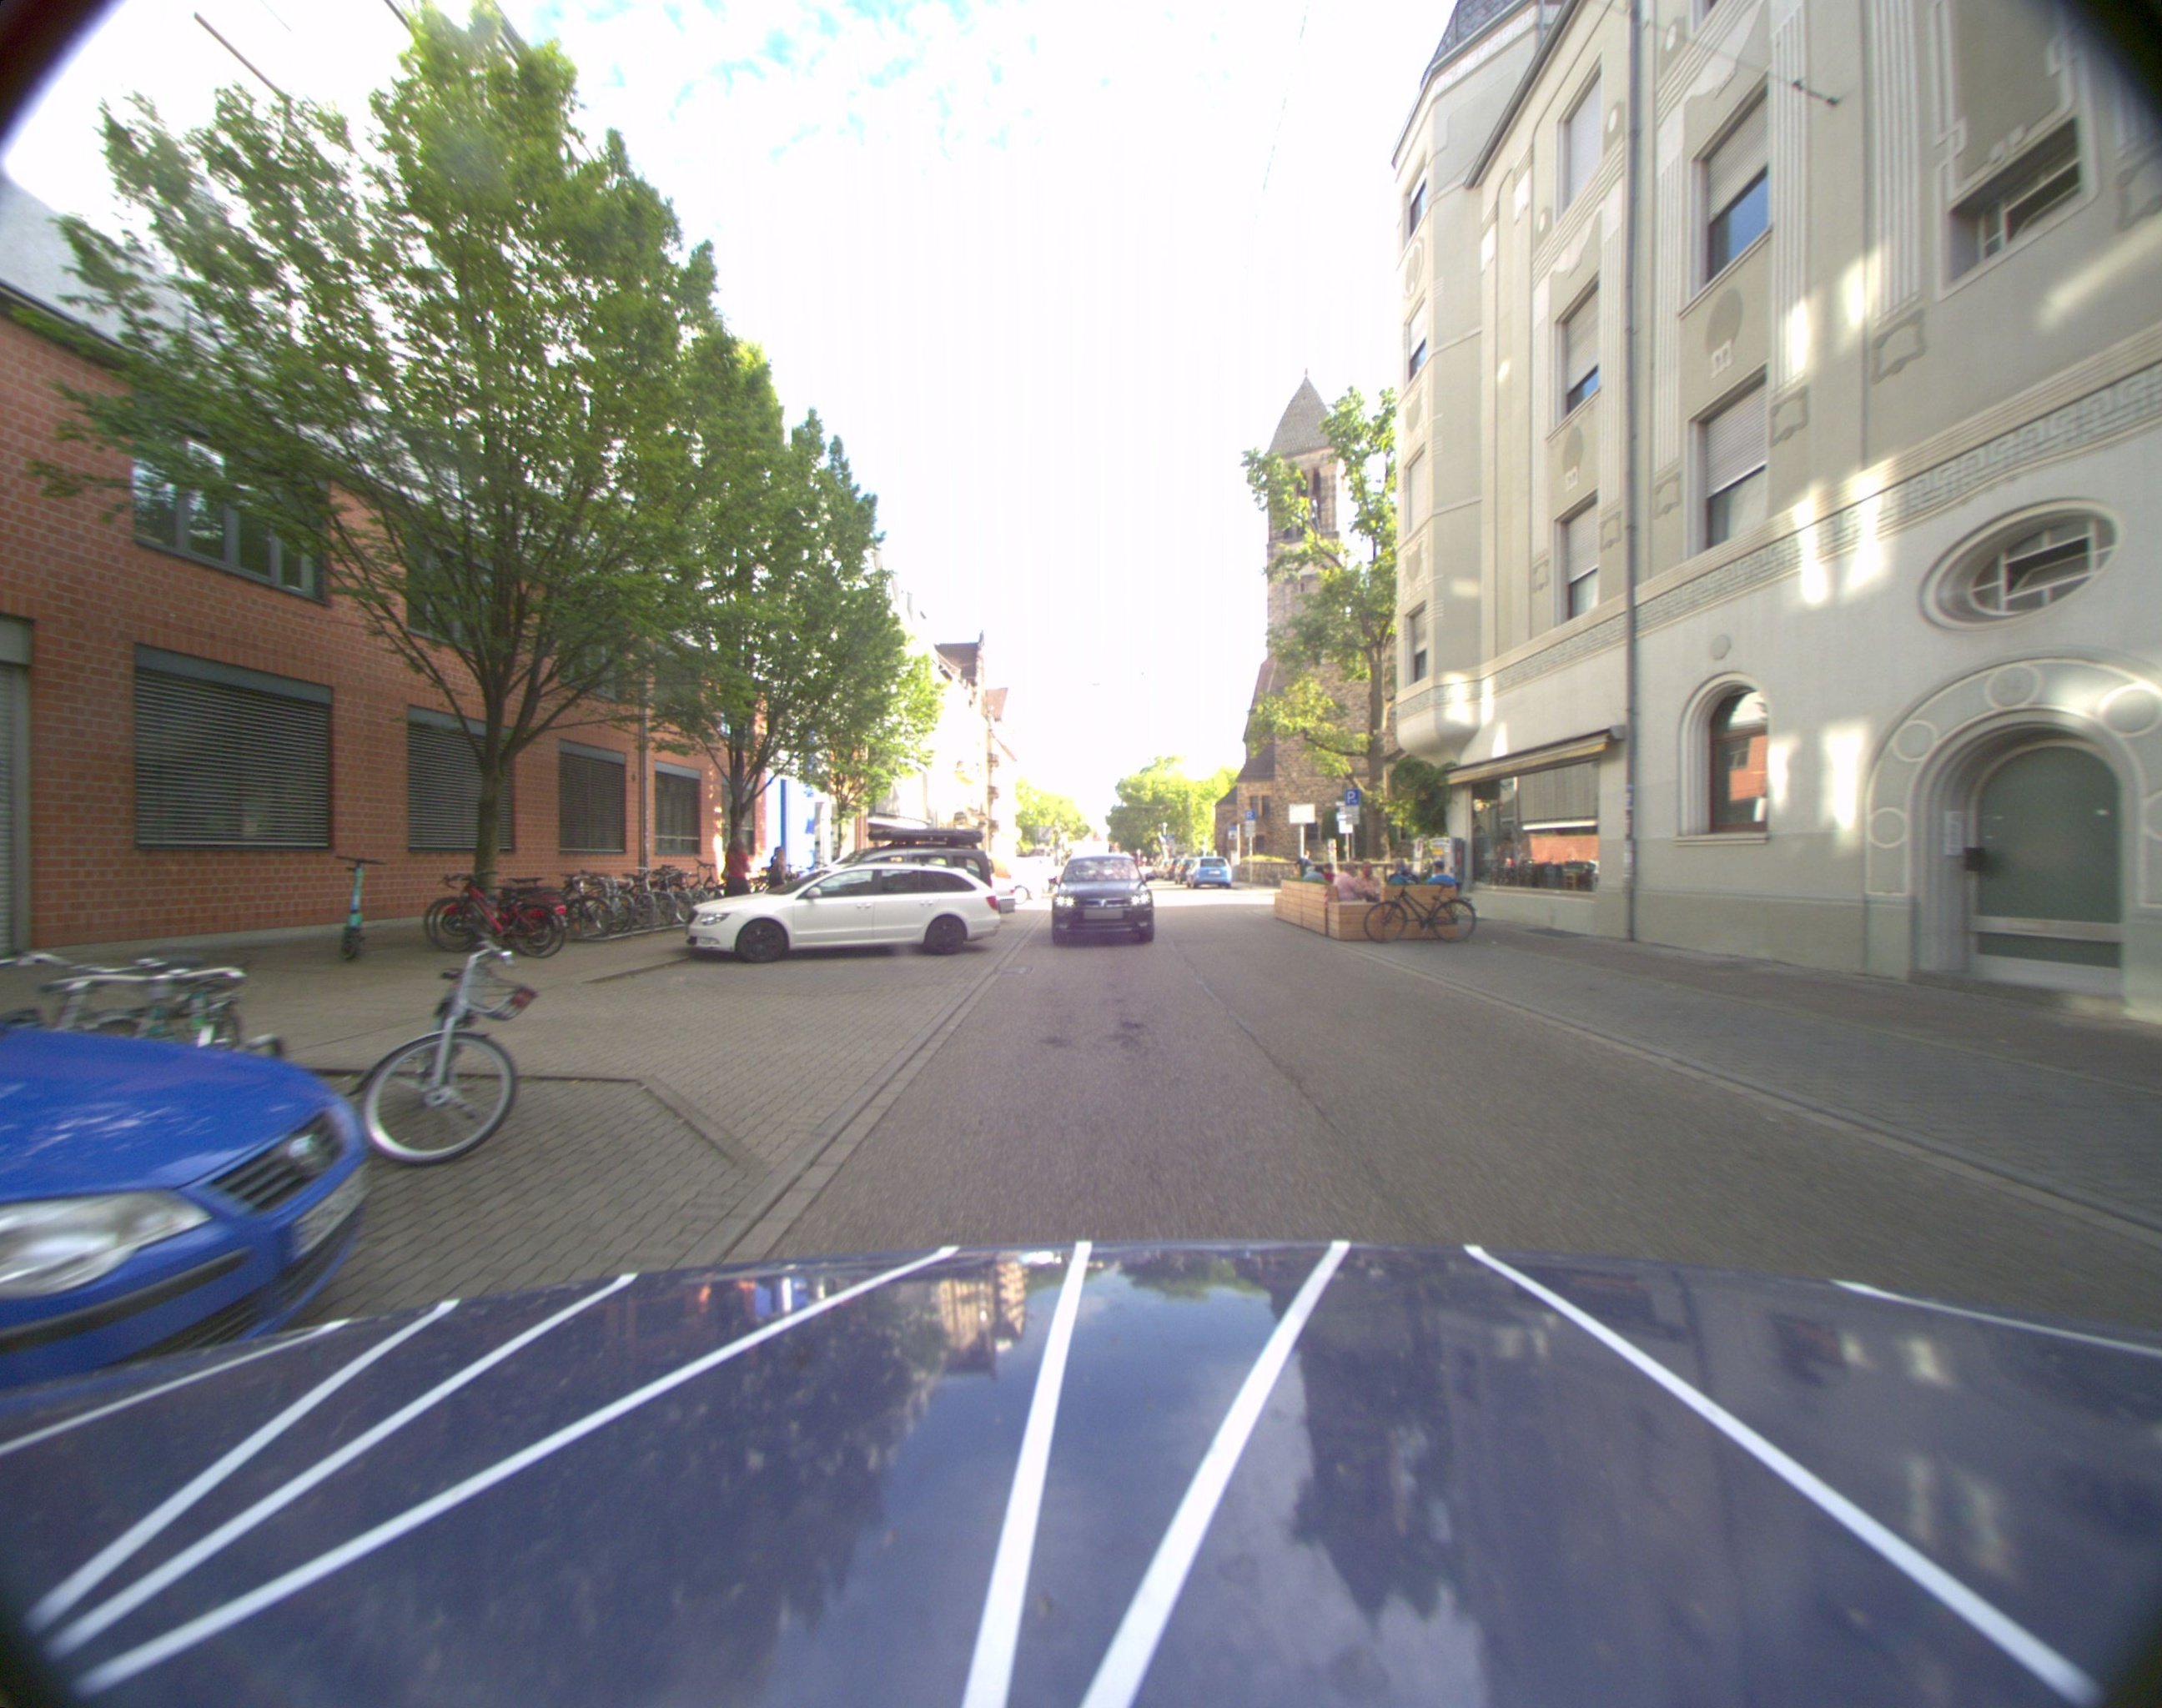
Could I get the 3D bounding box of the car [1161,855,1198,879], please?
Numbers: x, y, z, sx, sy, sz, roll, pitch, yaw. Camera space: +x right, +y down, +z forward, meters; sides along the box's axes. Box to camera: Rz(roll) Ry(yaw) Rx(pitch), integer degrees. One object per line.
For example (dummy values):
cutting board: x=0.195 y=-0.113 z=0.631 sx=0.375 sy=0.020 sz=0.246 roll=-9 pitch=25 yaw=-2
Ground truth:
car: x=6.201 y=0.776 z=48.271 sx=1.911 sy=1.412 sz=4.000 roll=-2 pitch=0 yaw=1

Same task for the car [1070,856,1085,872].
car: x=-0.444 y=1.323 z=101.166 sx=1.810 sy=1.914 sz=4.001 roll=-3 pitch=0 yaw=2

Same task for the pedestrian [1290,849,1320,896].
pedestrian: x=8.467 y=0.688 z=28.716 sx=0.845 sy=1.699 sz=0.879 roll=-2 pitch=1 yaw=2

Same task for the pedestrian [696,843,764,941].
pedestrian: x=-6.452 y=0.679 z=14.013 sx=0.754 sy=1.728 sz=0.952 roll=3 pitch=0 yaw=-3

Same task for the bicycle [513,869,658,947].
bicycle: x=-8.093 y=0.871 z=12.459 sx=1.896 sy=1.125 sz=0.618 roll=3 pitch=0 yaw=-1

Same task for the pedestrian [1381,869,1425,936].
pedestrian: x=6.144 y=0.911 z=14.511 sx=0.597 sy=1.236 sz=0.694 roll=-2 pitch=1 yaw=8

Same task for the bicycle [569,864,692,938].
bicycle: x=-8.077 y=0.827 z=13.659 sx=1.782 sy=1.198 sz=0.618 roll=3 pitch=0 yaw=-1

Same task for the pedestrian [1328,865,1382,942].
pedestrian: x=4.988 y=0.891 z=13.860 sx=0.738 sy=1.341 sz=0.644 roll=-2 pitch=1 yaw=4

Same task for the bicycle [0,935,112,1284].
bicycle: x=-4.919 y=1.058 z=3.403 sx=0.470 sy=1.205 sz=1.712 roll=-2 pitch=2 yaw=-45

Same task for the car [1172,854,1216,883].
car: x=6.166 y=0.762 z=41.867 sx=1.911 sy=1.412 sz=4.000 roll=-2 pitch=0 yaw=1

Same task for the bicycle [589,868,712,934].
bicycle: x=-8.075 y=0.873 z=14.293 sx=1.896 sy=1.113 sz=0.618 roll=3 pitch=0 yaw=-1

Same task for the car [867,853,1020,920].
car: x=-4.058 y=0.899 z=22.541 sx=4.006 sy=1.751 sz=1.908 roll=-2 pitch=0 yaw=-30

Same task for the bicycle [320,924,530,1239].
bicycle: x=-3.553 y=1.076 z=4.207 sx=0.703 sy=1.205 sz=1.744 roll=-2 pitch=1 yaw=-38

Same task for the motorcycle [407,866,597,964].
motorcycle: x=-8.122 y=0.839 z=10.728 sx=1.984 sy=1.220 sz=0.827 roll=3 pitch=0 yaw=-1

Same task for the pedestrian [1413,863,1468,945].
pedestrian: x=6.210 y=0.845 z=13.149 sx=0.637 sy=1.364 sz=0.684 roll=-2 pitch=1 yaw=5

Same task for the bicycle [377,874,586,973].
bicycle: x=-7.764 y=0.881 z=9.908 sx=2.025 sy=1.089 sz=0.820 roll=4 pitch=0 yaw=1

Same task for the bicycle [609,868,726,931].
bicycle: x=-8.092 y=0.880 z=14.927 sx=1.896 sy=1.096 sz=0.618 roll=3 pitch=0 yaw=-1

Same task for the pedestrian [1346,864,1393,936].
pedestrian: x=5.551 y=0.869 z=14.644 sx=0.668 sy=1.328 sz=0.740 roll=-2 pitch=1 yaw=8

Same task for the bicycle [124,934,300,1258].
bicycle: x=-4.433 y=1.100 z=3.960 sx=0.450 sy=1.146 sz=1.781 roll=-2 pitch=3 yaw=-45

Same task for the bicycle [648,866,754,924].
bicycle: x=-8.082 y=0.861 z=16.201 sx=1.896 sy=1.106 sz=0.618 roll=3 pitch=0 yaw=-1

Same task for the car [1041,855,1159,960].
car: x=0.501 y=0.867 z=14.479 sx=1.874 sy=1.644 sz=4.388 roll=-2 pitch=0 yaw=5

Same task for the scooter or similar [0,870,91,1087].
scooter or similar: x=-7.226 y=0.806 z=4.625 sx=0.524 sy=1.372 sz=1.323 roll=-1 pitch=0 yaw=16

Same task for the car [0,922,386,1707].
car: x=-4.181 y=0.935 z=1.341 sx=4.006 sy=1.430 sz=1.721 roll=1 pitch=0 yaw=-26

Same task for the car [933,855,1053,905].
car: x=-3.279 y=0.938 z=28.577 sx=4.006 sy=1.663 sz=1.923 roll=-2 pitch=0 yaw=-30

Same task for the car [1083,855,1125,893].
car: x=1.108 y=0.908 z=35.878 sx=1.810 sy=1.622 sz=4.001 roll=-3 pitch=0 yaw=2

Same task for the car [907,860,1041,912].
car: x=-3.606 y=1.025 z=25.762 sx=4.006 sy=1.499 sz=1.995 roll=-2 pitch=0 yaw=-30

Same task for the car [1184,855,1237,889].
car: x=6.027 y=0.794 z=35.805 sx=1.828 sy=1.477 sz=4.170 roll=-2 pitch=0 yaw=1

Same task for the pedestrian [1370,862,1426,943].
pedestrian: x=5.526 y=0.829 z=13.268 sx=0.689 sy=1.365 sz=0.739 roll=-2 pitch=1 yaw=5

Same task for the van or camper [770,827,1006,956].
van or camper: x=-3.737 y=0.615 z=14.770 sx=4.006 sy=2.166 sz=1.995 roll=-2 pitch=0 yaw=-29

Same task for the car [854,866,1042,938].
car: x=-3.099 y=1.053 z=17.908 sx=4.006 sy=1.391 sz=1.657 roll=-2 pitch=0 yaw=-30

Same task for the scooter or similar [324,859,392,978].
scooter or similar: x=-8.903 y=0.752 z=9.363 sx=0.526 sy=1.306 sz=1.317 roll=3 pitch=0 yaw=-44

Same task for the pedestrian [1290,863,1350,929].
pedestrian: x=5.154 y=0.893 z=16.459 sx=1.088 sy=1.365 sz=0.895 roll=-2 pitch=0 yaw=9

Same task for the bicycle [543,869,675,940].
bicycle: x=-8.096 y=0.856 z=13.060 sx=1.887 sy=1.112 sz=0.537 roll=2 pitch=1 yaw=-1

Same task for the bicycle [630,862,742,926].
bicycle: x=-8.069 y=0.808 z=15.569 sx=1.896 sy=1.198 sz=0.618 roll=3 pitch=0 yaw=-1

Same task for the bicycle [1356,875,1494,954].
bicycle: x=5.467 y=0.959 z=12.163 sx=1.872 sy=1.168 sz=0.688 roll=-2 pitch=0 yaw=3

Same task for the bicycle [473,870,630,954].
bicycle: x=-8.099 y=0.876 z=11.668 sx=1.921 sy=1.134 sz=0.618 roll=3 pitch=0 yaw=-1

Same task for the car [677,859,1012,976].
car: x=-3.718 y=0.912 z=12.228 sx=4.816 sy=1.535 sz=1.866 roll=2 pitch=0 yaw=-31

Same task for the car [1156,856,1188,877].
car: x=6.544 y=0.861 z=55.031 sx=1.911 sy=1.412 sz=4.000 roll=-2 pitch=0 yaw=1
